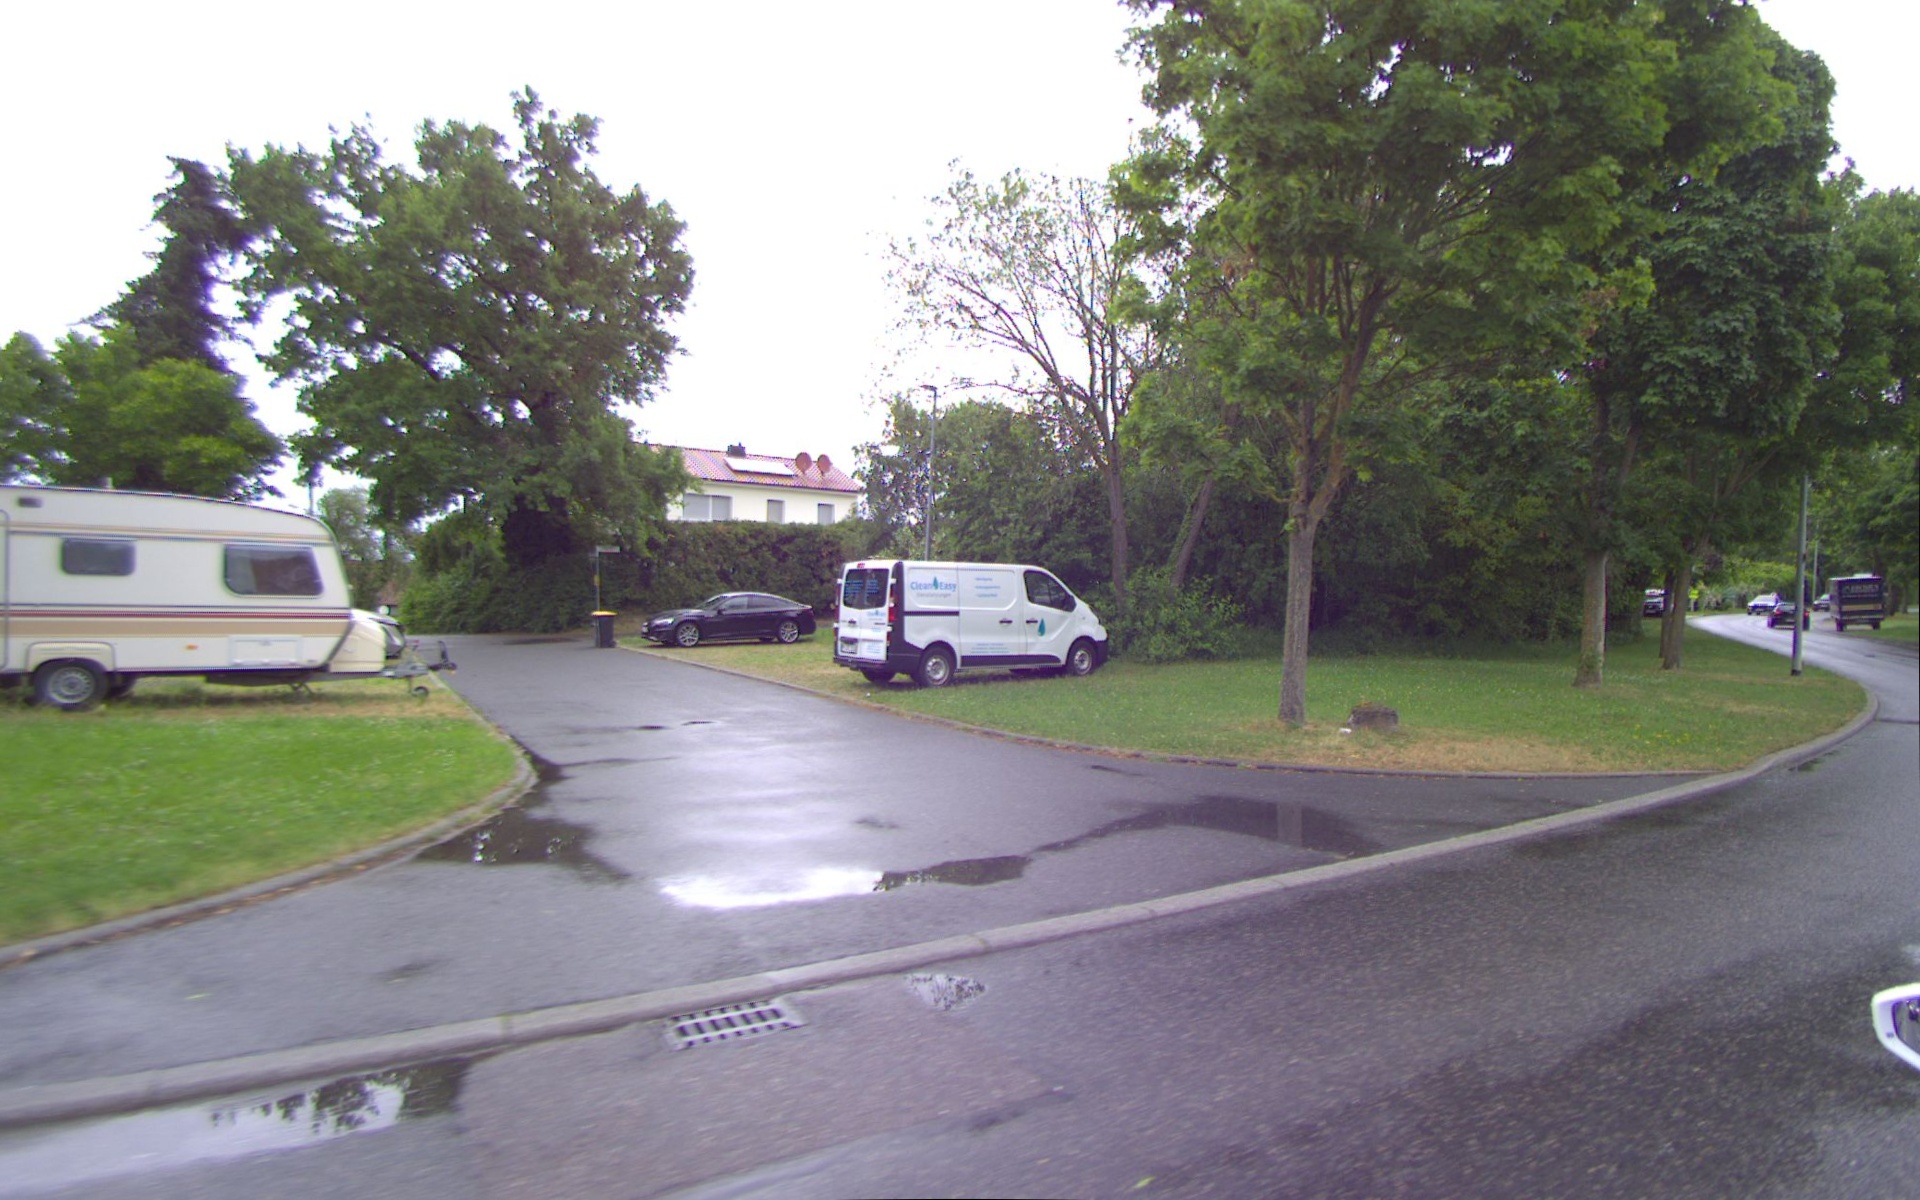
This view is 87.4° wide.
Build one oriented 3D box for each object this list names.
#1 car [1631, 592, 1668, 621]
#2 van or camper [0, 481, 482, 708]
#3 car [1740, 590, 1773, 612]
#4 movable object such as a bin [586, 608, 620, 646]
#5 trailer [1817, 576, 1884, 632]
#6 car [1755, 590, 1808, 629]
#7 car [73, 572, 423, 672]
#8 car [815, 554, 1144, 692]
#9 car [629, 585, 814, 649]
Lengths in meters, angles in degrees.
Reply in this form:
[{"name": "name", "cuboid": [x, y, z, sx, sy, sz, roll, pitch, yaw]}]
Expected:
[{"name": "car", "cuboid": [43.143, 0.377, 62.875, 1.726, 1.662, 4.579, 4, 2, 33]}, {"name": "van or camper", "cuboid": [-9.718, -0.024, 12.290, 6.737, 2.392, 2.371, 2, -1, -33]}, {"name": "car", "cuboid": [63.680, 0.050, 80.320, 1.766, 1.558, 4.077, 5, 4, 36]}, {"name": "movable object such as a bin", "cuboid": [-9.416, 0.702, 26.494, 0.748, 0.988, 0.539, -1, 1, -35]}, {"name": "trailer", "cuboid": [49.114, 0.196, 55.481, 1.968, 2.845, 5.589, -4, -2, 35]}, {"name": "car", "cuboid": [47.724, 0.532, 58.412, 1.875, 2.041, 3.933, 4, 2, 33]}, {"name": "car", "cuboid": [-12.743, 0.438, 18.405, 4.950, 1.557, 1.780, 4, -1, -33]}, {"name": "car", "cuboid": [0.455, 0.269, 17.116, 5.420, 2.013, 2.113, -2, 1, -36]}, {"name": "car", "cuboid": [-6.429, 0.393, 27.289, 4.435, 1.530, 2.113, -2, 2, -36]}]
